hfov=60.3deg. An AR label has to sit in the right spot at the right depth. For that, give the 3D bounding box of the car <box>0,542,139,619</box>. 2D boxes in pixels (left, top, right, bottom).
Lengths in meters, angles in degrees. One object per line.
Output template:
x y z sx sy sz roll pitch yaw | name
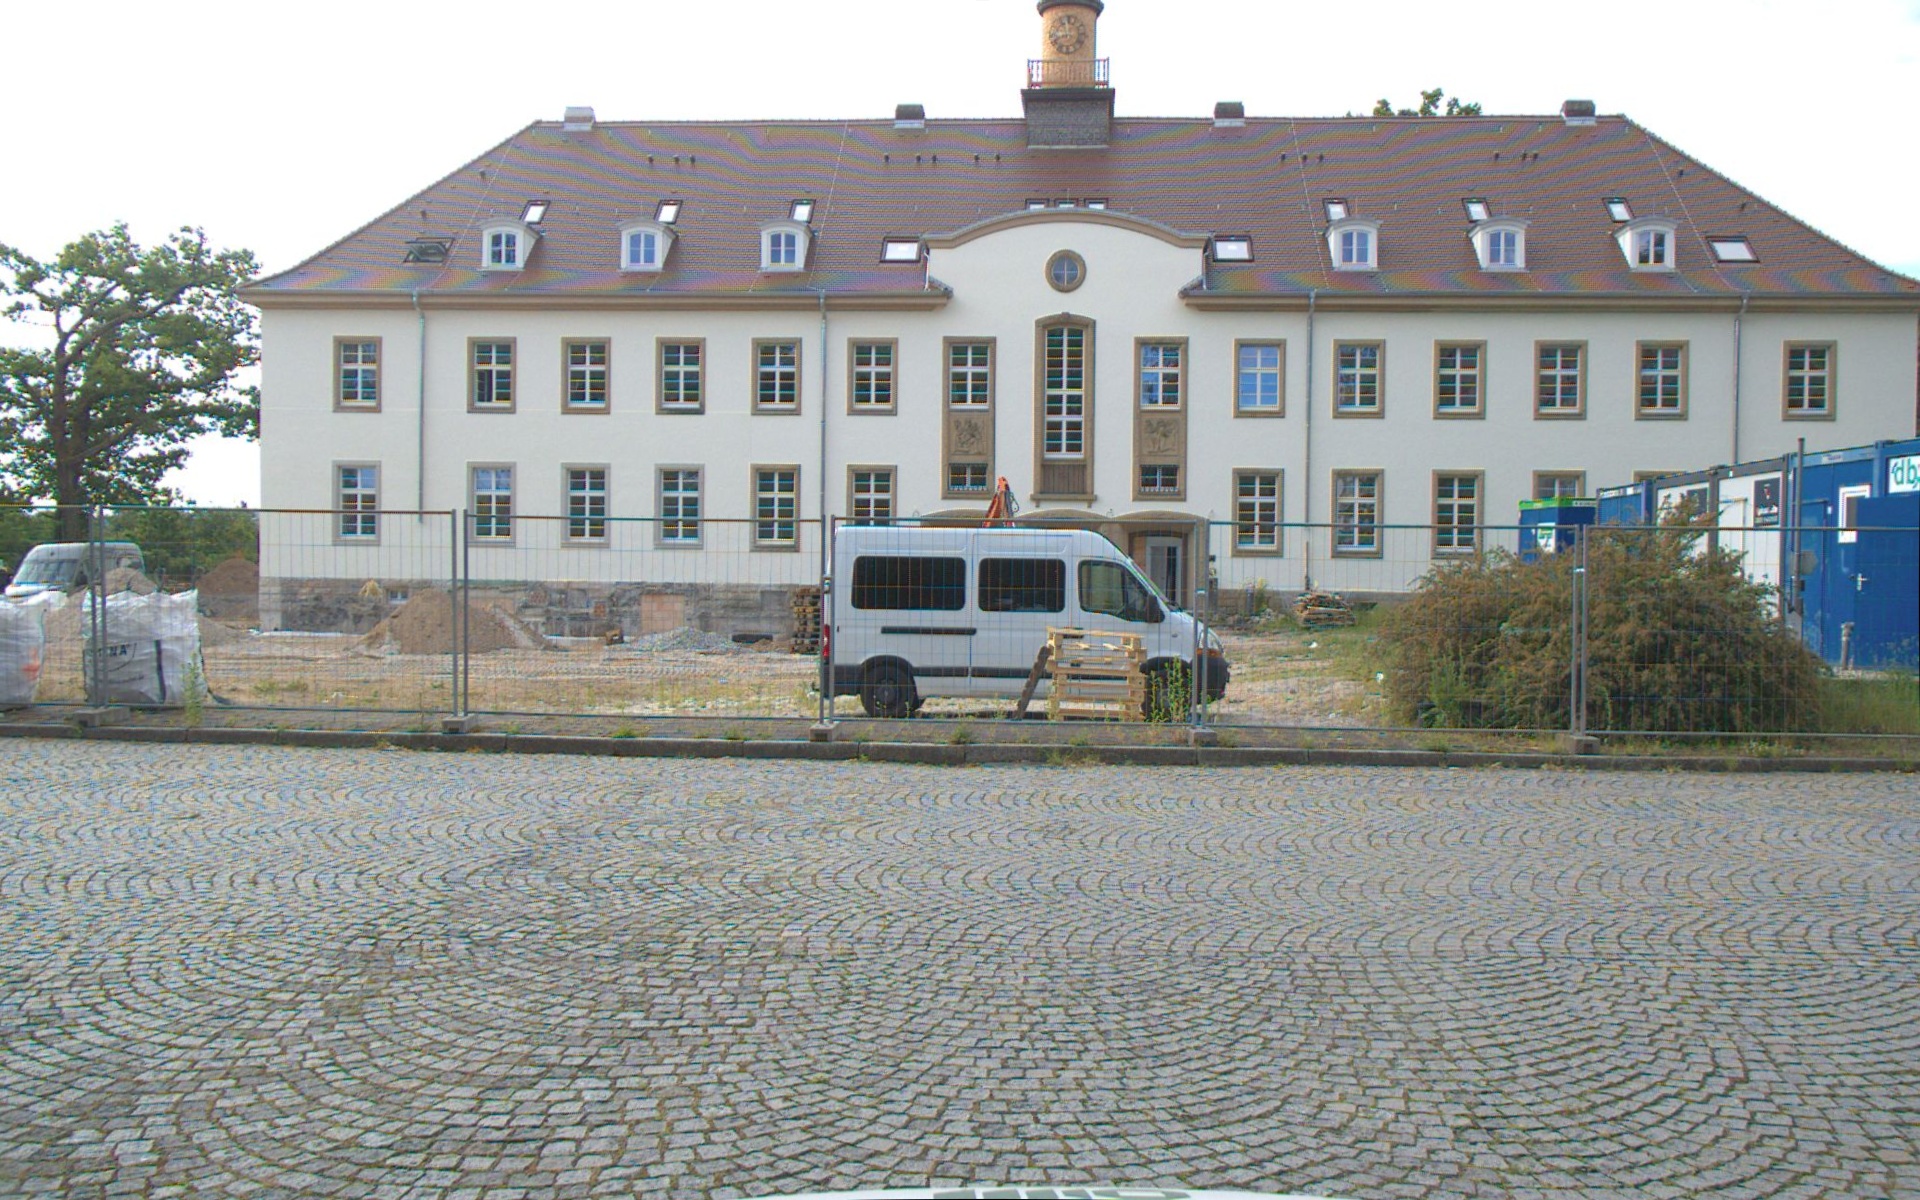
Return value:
-26.828 -0.587 49.709 2.026 2.188 4.897 0 1 -3 | car

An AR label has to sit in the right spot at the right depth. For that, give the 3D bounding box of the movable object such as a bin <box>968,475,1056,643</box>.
1.222 -0.966 40.794 1.953 3.837 5.317 1 0 0 | movable object such as a bin

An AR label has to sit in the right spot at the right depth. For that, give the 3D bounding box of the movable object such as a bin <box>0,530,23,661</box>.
-21.709 -0.103 32.719 5.218 2.601 2.001 1 0 2 | movable object such as a bin

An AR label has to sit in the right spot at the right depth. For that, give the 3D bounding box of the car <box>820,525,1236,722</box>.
0.905 0.270 21.560 5.151 2.385 1.911 1 0 5 | car
